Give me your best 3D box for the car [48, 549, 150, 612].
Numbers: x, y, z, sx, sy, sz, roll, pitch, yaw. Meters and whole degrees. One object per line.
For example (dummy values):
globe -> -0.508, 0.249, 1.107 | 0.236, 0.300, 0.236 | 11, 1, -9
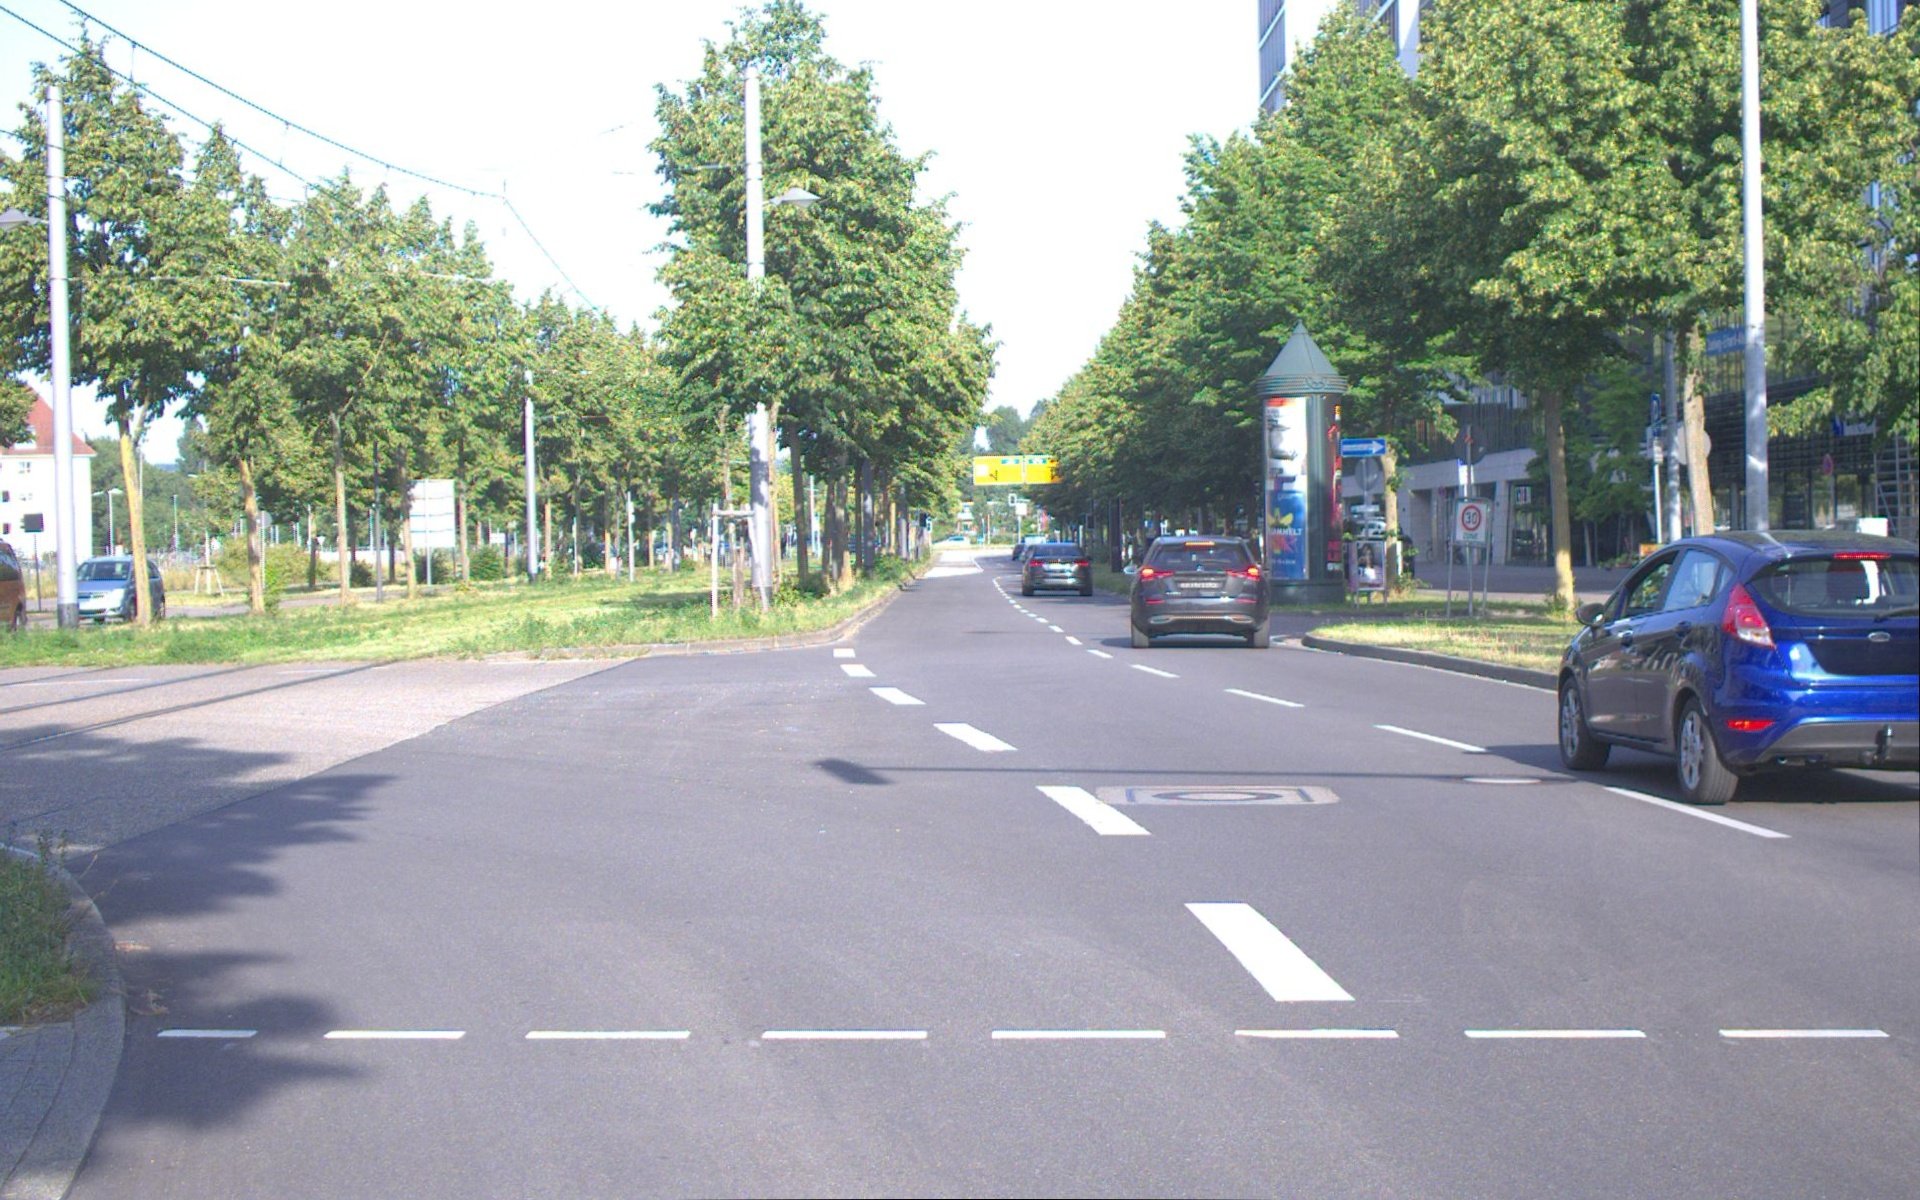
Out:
car -> -20.383, -0.477, 81.502 | 1.638, 1.438, 3.957 | 1, 1, -4

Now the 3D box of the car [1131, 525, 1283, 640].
car -> 3.182, -0.250, 44.957 | 1.774, 1.419, 3.961 | 1, 1, 1

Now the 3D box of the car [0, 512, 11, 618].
car -> -16.812, -0.583, 56.291 | 1.684, 1.769, 3.883 | 1, 1, -4

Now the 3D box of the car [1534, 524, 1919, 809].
car -> 4.521, 0.303, 19.592 | 1.560, 1.419, 3.908 | 1, 2, -4

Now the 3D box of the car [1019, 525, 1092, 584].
car -> 2.553, -1.233, 92.426 | 1.860, 1.519, 3.786 | 1, 1, 0
